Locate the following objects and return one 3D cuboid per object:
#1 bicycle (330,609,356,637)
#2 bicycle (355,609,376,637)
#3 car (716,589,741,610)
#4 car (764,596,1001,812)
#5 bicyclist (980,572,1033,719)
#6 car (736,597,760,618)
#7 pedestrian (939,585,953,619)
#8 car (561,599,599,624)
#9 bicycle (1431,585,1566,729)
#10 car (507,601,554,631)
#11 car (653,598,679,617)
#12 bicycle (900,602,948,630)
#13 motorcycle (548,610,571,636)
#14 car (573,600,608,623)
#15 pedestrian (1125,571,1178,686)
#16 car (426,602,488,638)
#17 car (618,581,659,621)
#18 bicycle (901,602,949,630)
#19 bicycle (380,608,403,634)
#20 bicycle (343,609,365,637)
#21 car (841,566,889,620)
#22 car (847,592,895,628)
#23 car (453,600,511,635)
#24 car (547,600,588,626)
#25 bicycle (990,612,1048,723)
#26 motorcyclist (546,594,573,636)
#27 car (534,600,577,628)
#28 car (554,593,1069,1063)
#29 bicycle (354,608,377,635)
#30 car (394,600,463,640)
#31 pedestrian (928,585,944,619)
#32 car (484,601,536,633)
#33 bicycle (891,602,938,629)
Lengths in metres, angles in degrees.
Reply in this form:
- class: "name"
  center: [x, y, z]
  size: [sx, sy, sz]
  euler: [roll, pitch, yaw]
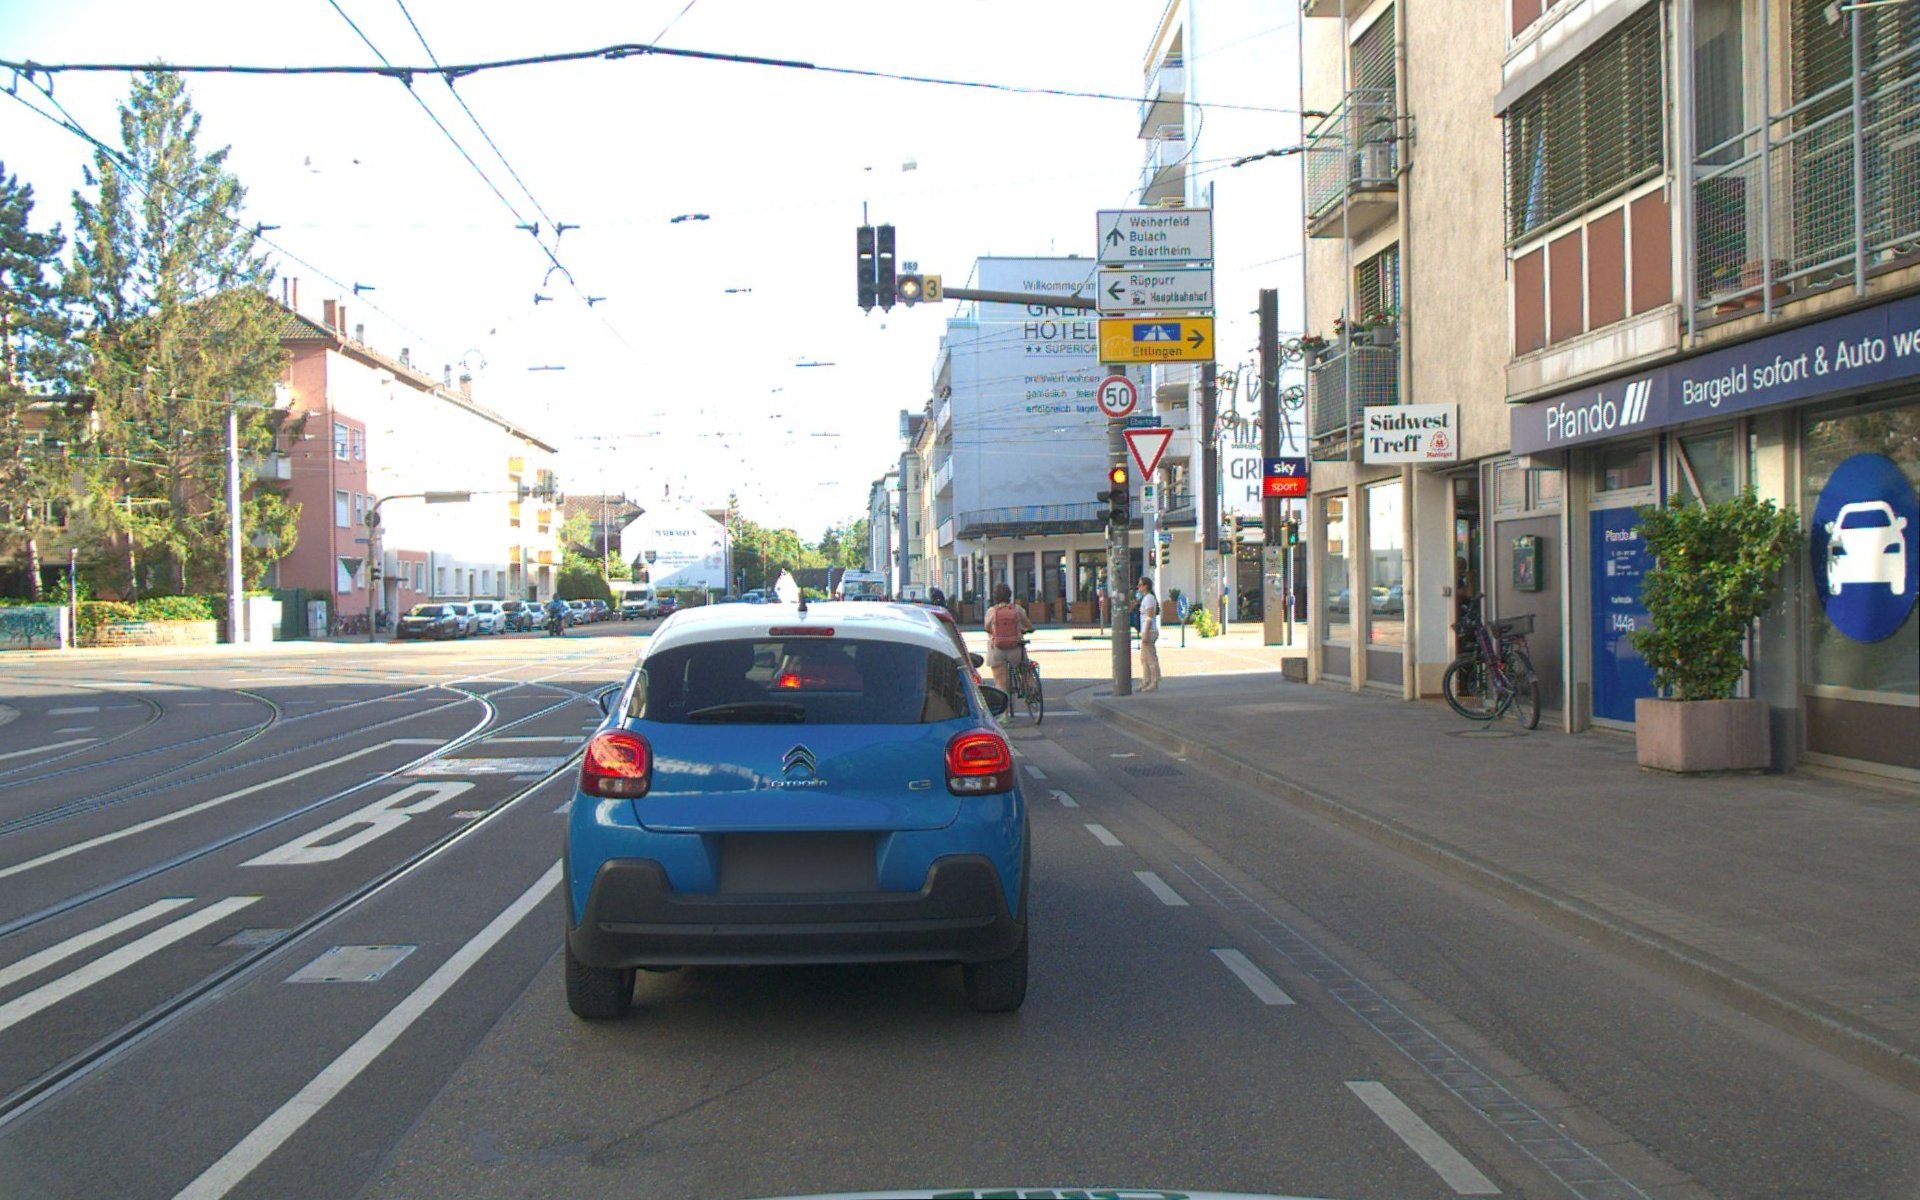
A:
- class: "bicycle"
  center: [-24.984, 0.918, 66.999]
  size: [0.628, 1.101, 1.905]
  euler: [-1, 0, -11]
- class: "bicycle"
  center: [-24.232, 0.936, 67.424]
  size: [0.527, 1.101, 1.905]
  euler: [-1, 0, -11]
- class: "car"
  center: [-18.860, -0.020, 135.031]
  size: [1.967, 1.656, 5.045]
  euler: [-1, 0, -7]
- class: "car"
  center: [-0.680, 0.726, 13.567]
  size: [1.647, 1.488, 3.997]
  euler: [1, 0, -4]
- class: "bicyclist"
  center: [0.567, 0.550, 20.604]
  size: [0.588, 1.776, 1.084]
  euler: [-1, 0, -1]
- class: "car"
  center: [-21.815, 0.803, 170.501]
  size: [2.293, 2.074, 5.044]
  euler: [-1, 0, -6]
- class: "pedestrian"
  center: [-0.587, 0.080, 70.001]
  size: [0.459, 1.445, 0.525]
  euler: [-1, 0, -13]
- class: "car"
  center: [-24.853, 0.747, 108.271]
  size: [1.913, 1.545, 3.995]
  euler: [-1, 0, -6]
- class: "bicycle"
  center: [5.112, 0.503, 15.828]
  size: [0.627, 1.286, 1.910]
  euler: [-1, 0, -1]
- class: "car"
  center: [-23.766, 0.854, 91.576]
  size: [1.913, 1.545, 3.995]
  euler: [-1, 0, -6]
- class: "car"
  center: [-25.578, 0.640, 144.174]
  size: [1.913, 1.545, 3.995]
  euler: [-1, 0, -6]
- class: "bicycle"
  center: [-1.448, 0.661, 67.093]
  size: [1.868, 1.083, 0.641]
  euler: [-1, 0, -8]
- class: "motorcycle"
  center: [-16.228, 0.938, 67.029]
  size: [0.738, 0.993, 2.092]
  euler: [-1, 0, -9]
- class: "car"
  center: [-25.569, 0.786, 114.601]
  size: [1.913, 1.545, 3.995]
  euler: [-1, 0, -6]
- class: "pedestrian"
  center: [2.824, 0.410, 24.416]
  size: [0.735, 1.663, 0.740]
  euler: [-1, 0, 5]
- class: "car"
  center: [-22.556, 0.875, 74.264]
  size: [1.913, 1.545, 4.040]
  euler: [-1, 0, -6]
- class: "car"
  center: [-23.227, 0.065, 119.585]
  size: [2.446, 2.759, 5.828]
  euler: [-1, 0, -7]
- class: "bicycle"
  center: [-1.395, 0.636, 65.788]
  size: [1.868, 1.083, 0.641]
  euler: [-1, 0, -8]
- class: "bicycle"
  center: [-25.674, 0.941, 74.700]
  size: [0.597, 1.101, 1.908]
  euler: [-1, 0, -7]
- class: "bicycle"
  center: [-24.590, 0.928, 67.125]
  size: [0.527, 1.101, 1.905]
  euler: [-1, 0, -11]
- class: "car"
  center: [-4.233, -0.321, 73.186]
  size: [2.039, 2.309, 5.646]
  euler: [0, 0, -4]
- class: "car"
  center: [-3.678, 0.380, 67.748]
  size: [1.752, 1.383, 3.909]
  euler: [-1, 0, -6]
- class: "car"
  center: [-22.758, 0.819, 78.869]
  size: [1.913, 1.545, 3.995]
  euler: [-1, 0, -6]
- class: "car"
  center: [-24.411, 0.806, 102.998]
  size: [1.913, 1.545, 3.995]
  euler: [-1, 0, -6]
- class: "bicycle"
  center: [0.720, 0.813, 20.645]
  size: [0.601, 1.286, 1.910]
  euler: [-1, 0, -1]
- class: "motorcyclist"
  center: [-16.207, 0.605, 66.961]
  size: [0.973, 1.659, 0.737]
  euler: [-1, 0, -10]
- class: "car"
  center: [-23.937, 0.821, 98.001]
  size: [1.913, 1.545, 3.995]
  euler: [-1, 0, -6]
- class: "car"
  center: [-0.613, 0.730, 7.359]
  size: [1.647, 1.488, 3.997]
  euler: [1, 0, -4]
- class: "bicycle"
  center: [-25.876, 0.927, 71.995]
  size: [0.527, 1.101, 1.908]
  euler: [-1, 0, -7]
- class: "car"
  center: [-22.017, 0.790, 68.659]
  size: [1.913, 1.545, 3.995]
  euler: [-1, 0, -6]
- class: "pedestrian"
  center: [-1.012, 0.086, 70.246]
  size: [0.514, 1.445, 0.547]
  euler: [-1, 0, 19]
- class: "car"
  center: [-23.236, 0.838, 85.526]
  size: [1.913, 1.545, 3.995]
  euler: [-1, 0, -6]
- class: "bicycle"
  center: [-1.862, 0.639, 68.279]
  size: [1.868, 1.083, 0.641]
  euler: [-1, 0, -8]
